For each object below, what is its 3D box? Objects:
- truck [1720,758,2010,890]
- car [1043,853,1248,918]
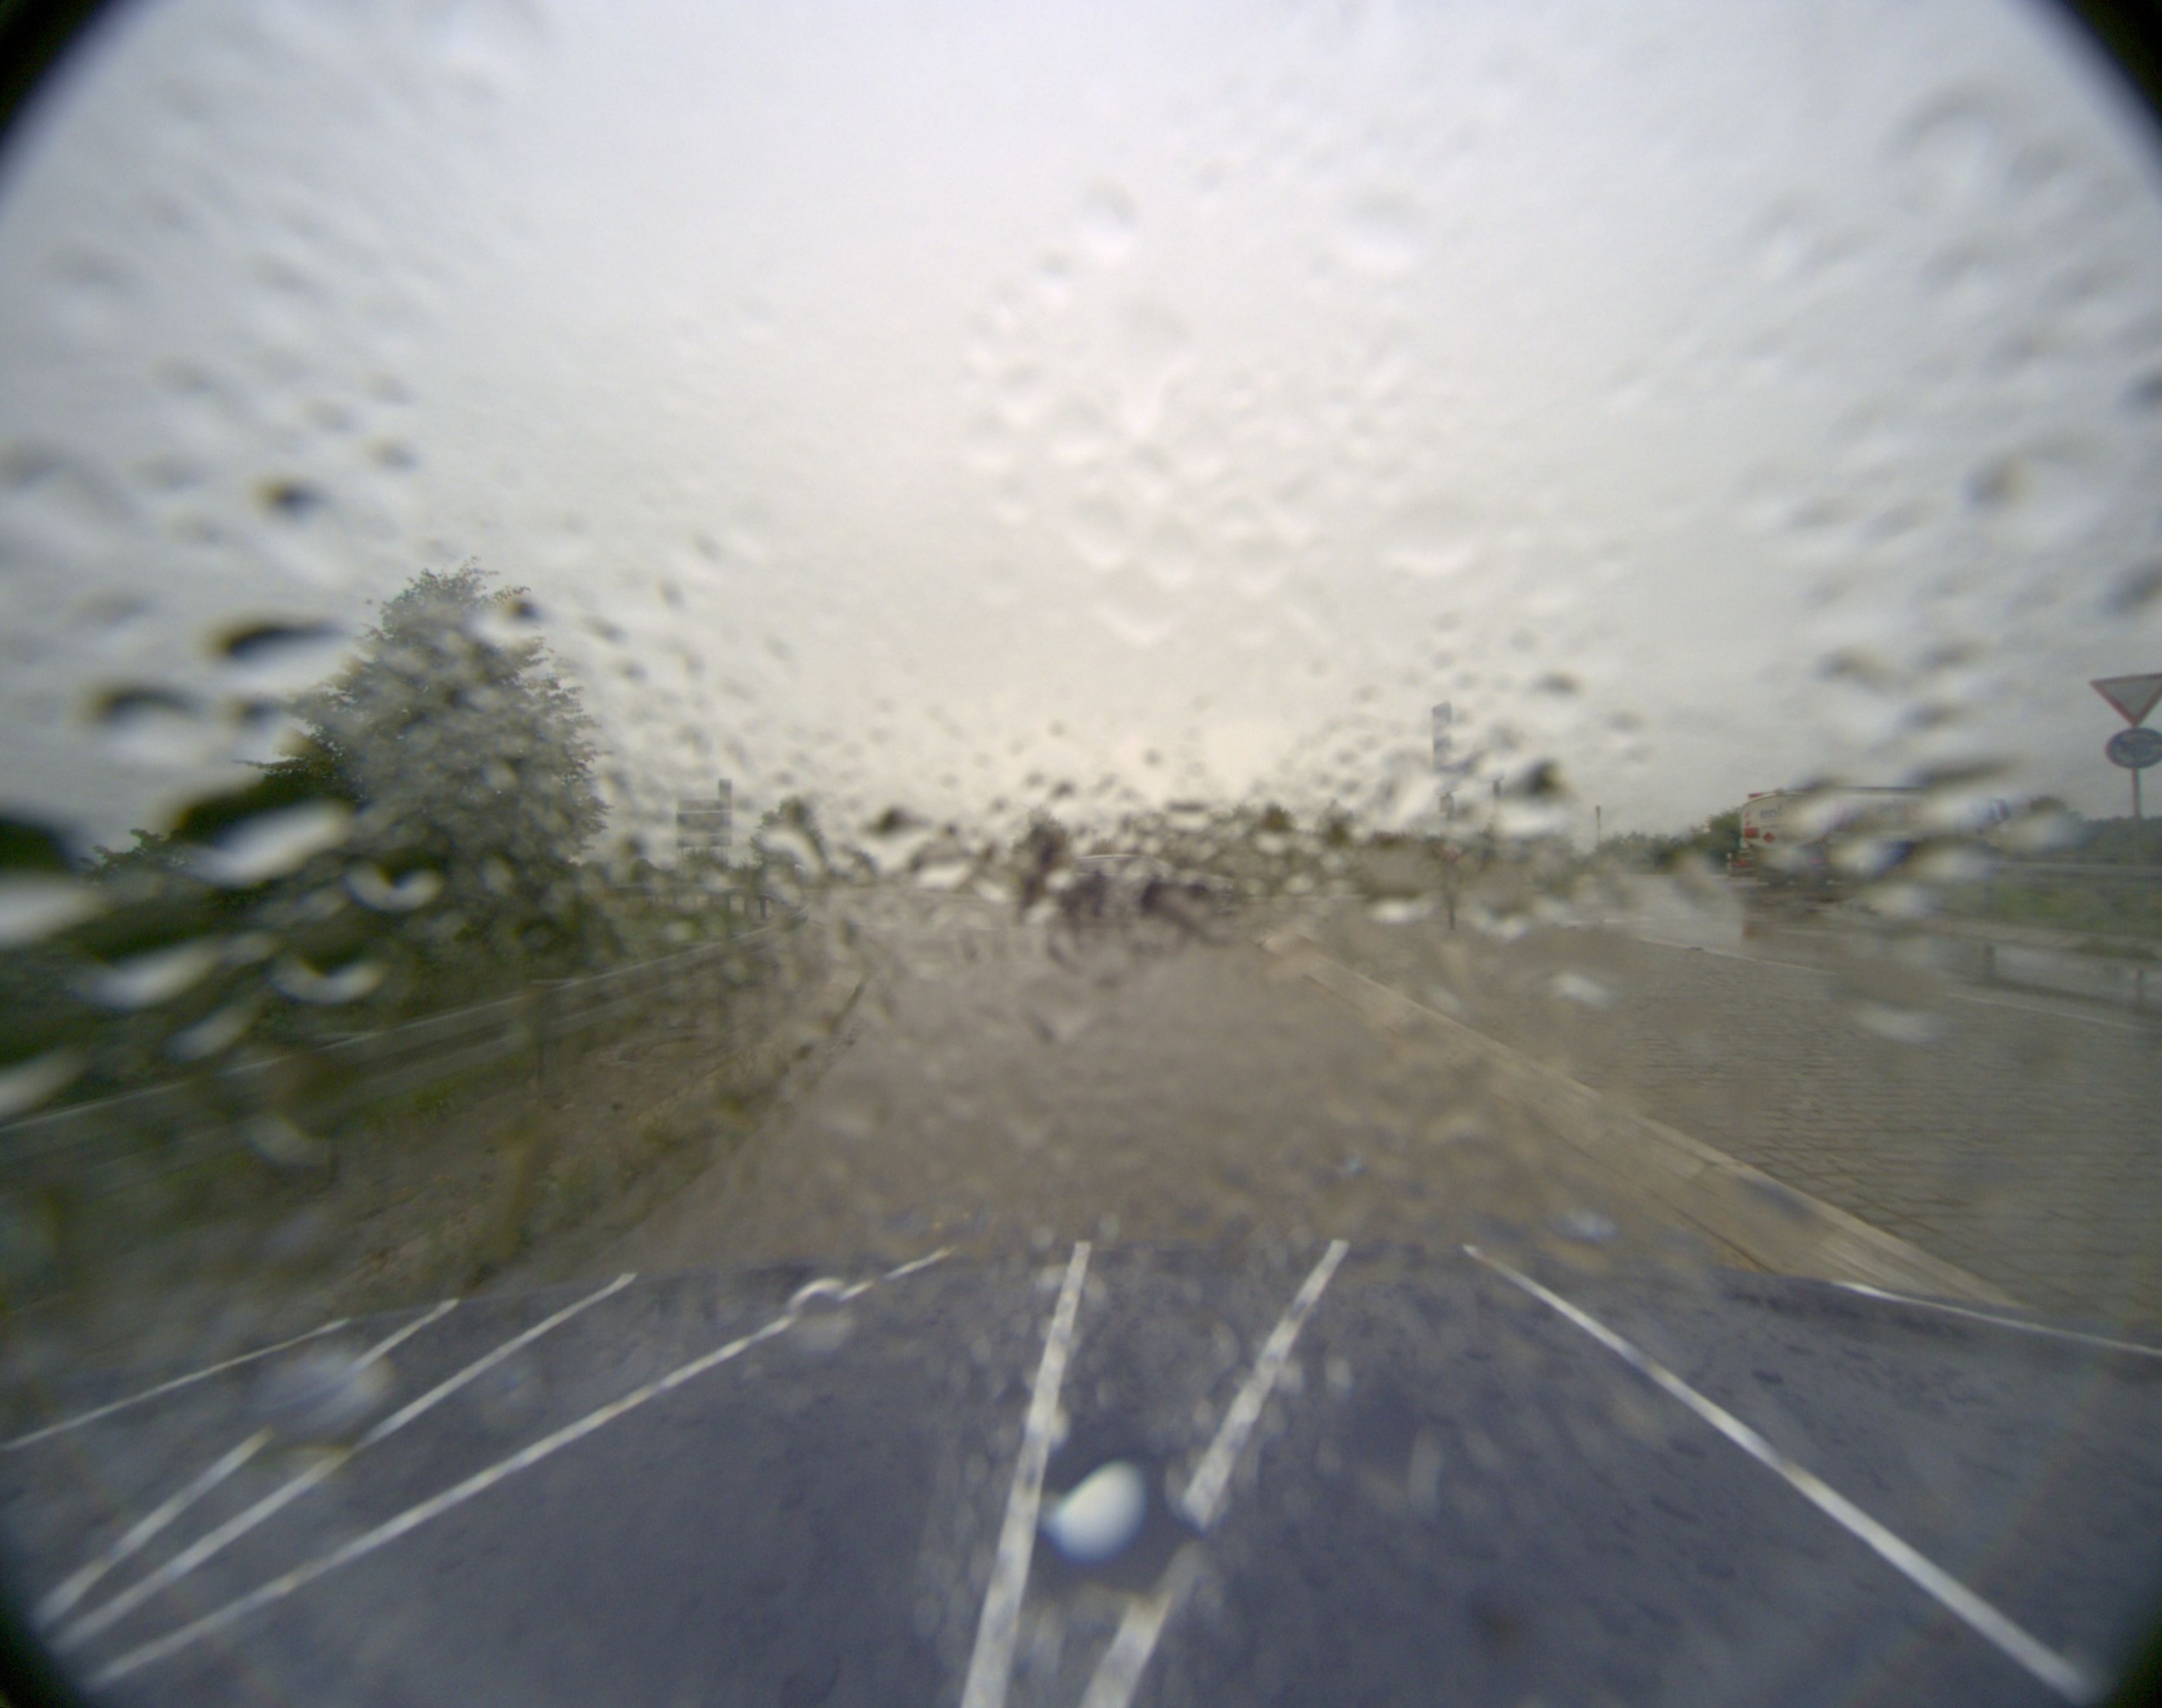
[{"bbox_3d":[25.675,-0.915,24.899,8.829,3.828,3.045,-1,-1,-19],"label":"truck"},{"bbox_3d":[1.572,0.762,18.391,4.555,1.361,1.913,-2,1,20],"label":"car"}]
